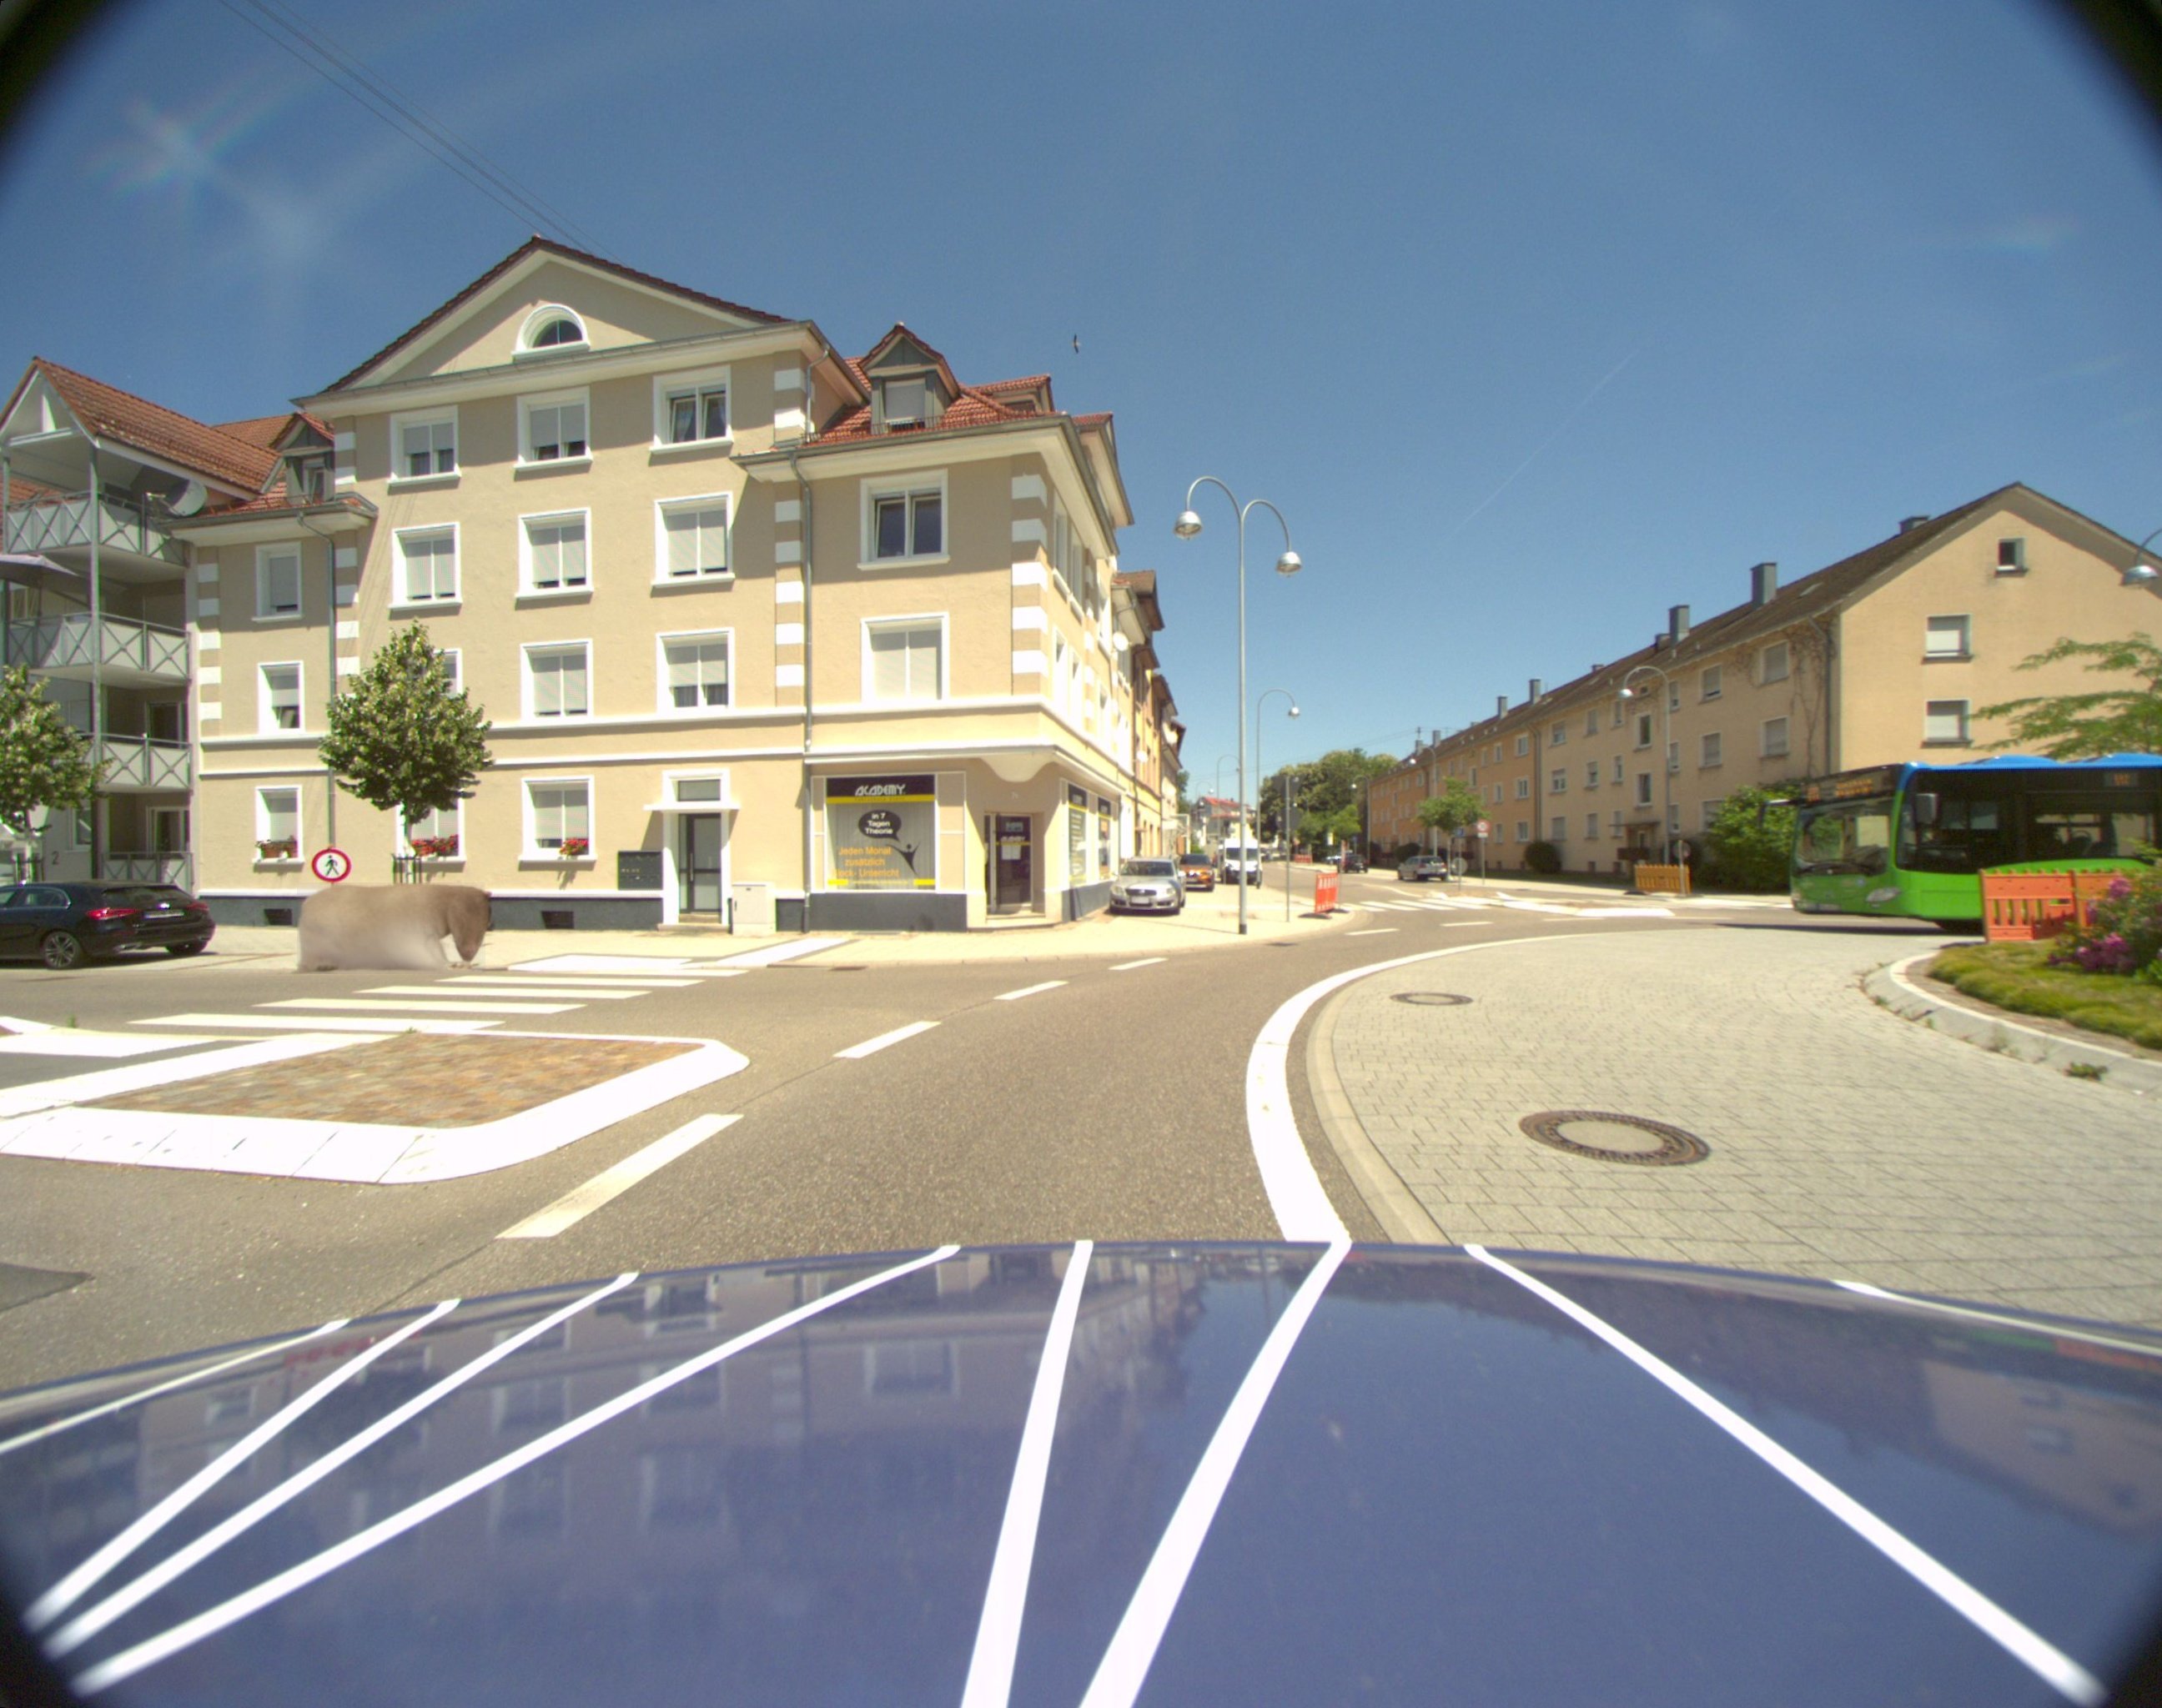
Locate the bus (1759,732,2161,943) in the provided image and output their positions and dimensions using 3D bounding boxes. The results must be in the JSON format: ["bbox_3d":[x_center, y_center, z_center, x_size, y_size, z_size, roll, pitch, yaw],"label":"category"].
[{"bbox_3d":[18.547,-0.223,13.092,10.067,3.304,2.968,-1,-2,11],"label":"bus"}]

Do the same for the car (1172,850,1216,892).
[{"bbox_3d":[4.913,0.663,32.615,1.675,1.610,4.366,2,1,10],"label":"car"}]

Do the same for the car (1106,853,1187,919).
[{"bbox_3d":[1.918,0.779,20.786,1.767,1.521,4.693,0,1,10],"label":"car"}]

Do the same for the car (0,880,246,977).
[{"bbox_3d":[-17.732,1.261,13.192,4.170,1.428,1.905,-1,2,-3],"label":"car"}]

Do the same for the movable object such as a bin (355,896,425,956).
[{"bbox_3d":[-12.902,1.337,14.198,0.703,1.049,0.643,-1,1,9],"label":"movable object such as a bin"}]

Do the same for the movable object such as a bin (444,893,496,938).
[{"bbox_3d":[-13.600,1.365,16.926,0.579,0.930,0.656,-1,2,2],"label":"movable object such as a bin"}]

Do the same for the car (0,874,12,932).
[{"bbox_3d":[-28.105,1.292,17.064,1.903,1.428,4.299,-1,2,14],"label":"car"}]

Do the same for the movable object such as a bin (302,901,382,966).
[{"bbox_3d":[-13.007,1.384,13.385,0.703,1.049,0.671,-1,2,9],"label":"movable object such as a bin"}]

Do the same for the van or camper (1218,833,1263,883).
[{"bbox_3d":[8.731,0.172,41.982,2.168,2.574,5.769,1,1,9],"label":"van or camper"}]

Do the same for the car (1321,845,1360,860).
[{"bbox_3d":[33.671,-0.199,98.652,4.435,1.863,1.818,-2,1,-2],"label":"car"}]

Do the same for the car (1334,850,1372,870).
[{"bbox_3d":[22.053,0.485,61.776,1.861,1.498,4.565,-2,0,6],"label":"car"}]

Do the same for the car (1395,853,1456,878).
[{"bbox_3d":[20.457,0.663,45.312,1.998,1.412,4.089,-1,0,3],"label":"car"}]
